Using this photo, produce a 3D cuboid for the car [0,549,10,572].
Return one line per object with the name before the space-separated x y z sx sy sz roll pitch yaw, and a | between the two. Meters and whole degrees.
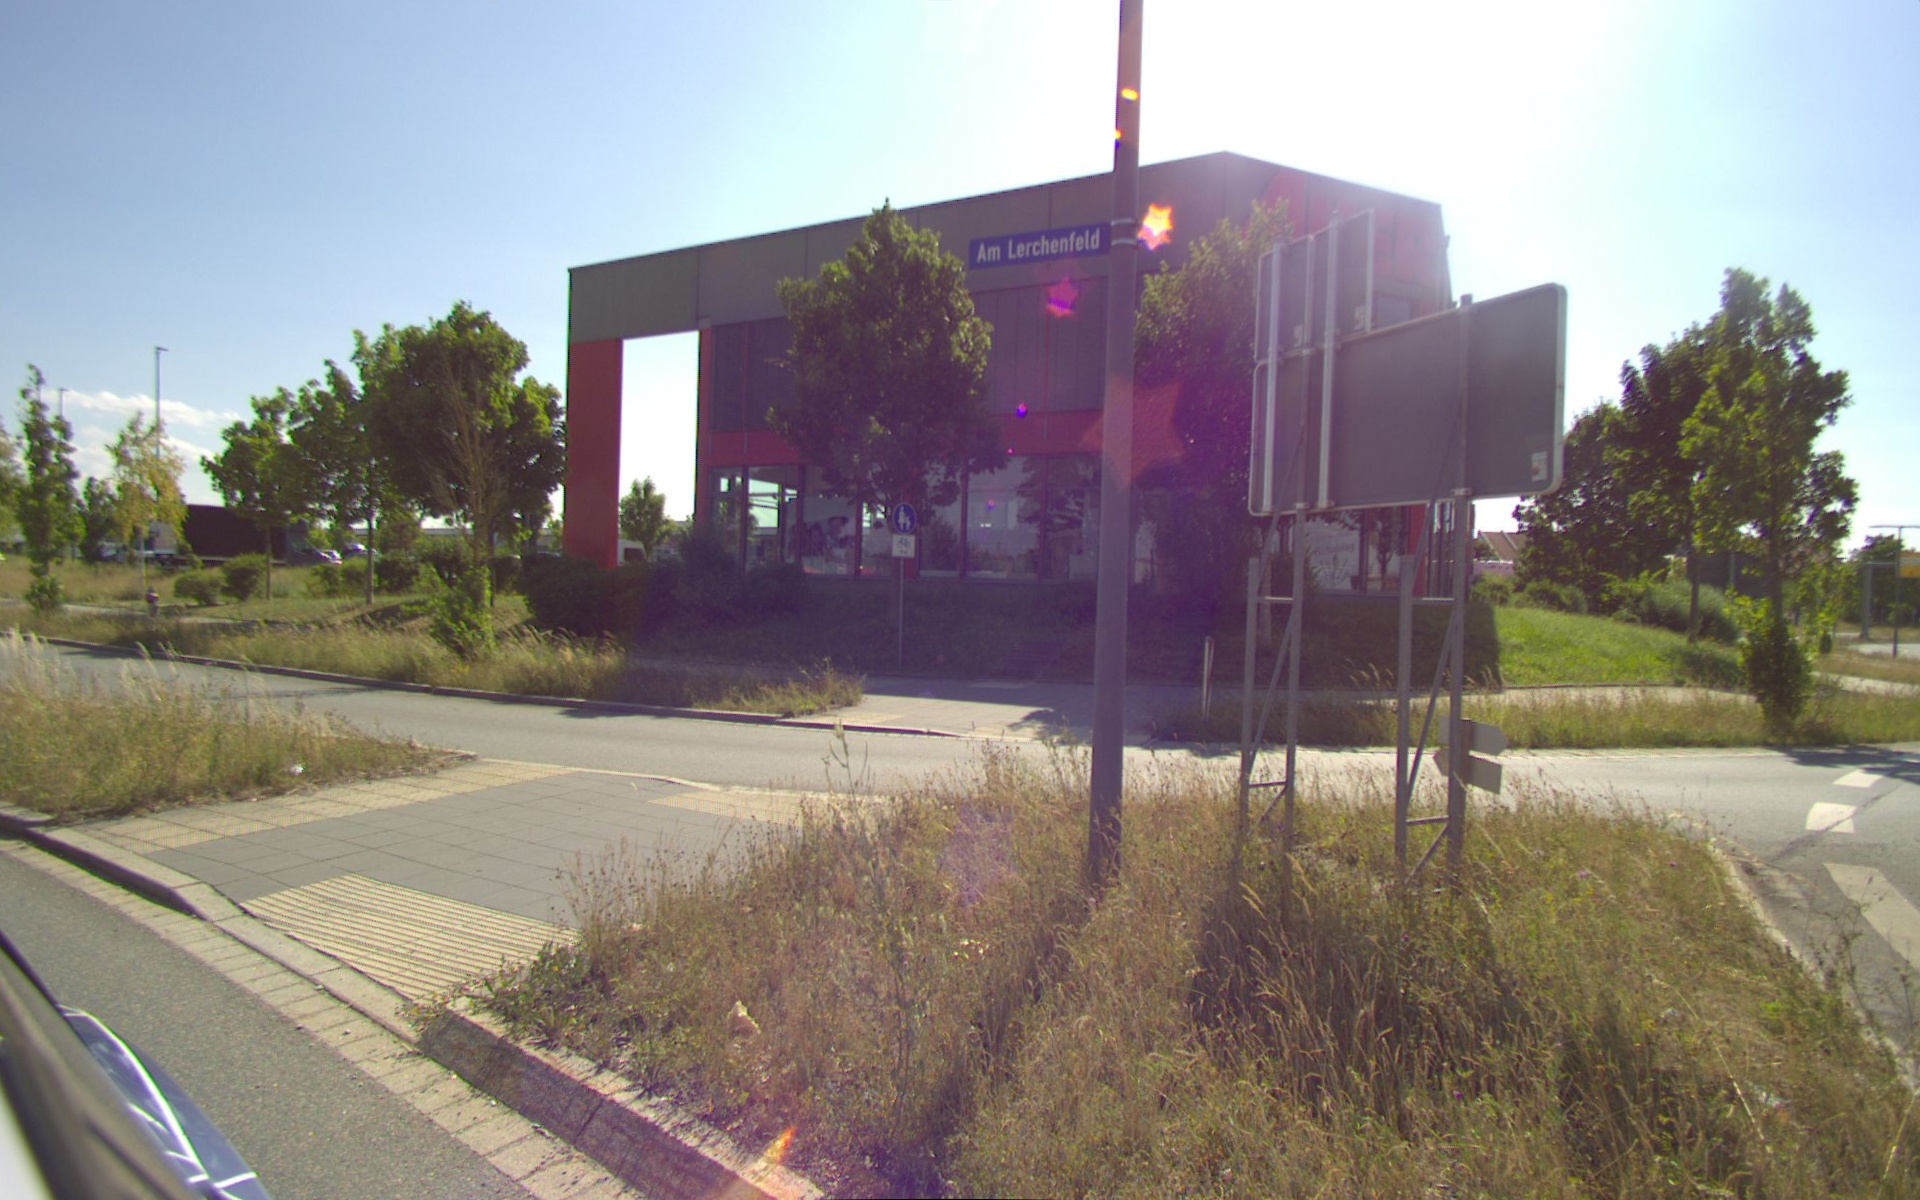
car | -73.492 -3.052 75.137 4.217 1.689 1.621 2 0 -42
